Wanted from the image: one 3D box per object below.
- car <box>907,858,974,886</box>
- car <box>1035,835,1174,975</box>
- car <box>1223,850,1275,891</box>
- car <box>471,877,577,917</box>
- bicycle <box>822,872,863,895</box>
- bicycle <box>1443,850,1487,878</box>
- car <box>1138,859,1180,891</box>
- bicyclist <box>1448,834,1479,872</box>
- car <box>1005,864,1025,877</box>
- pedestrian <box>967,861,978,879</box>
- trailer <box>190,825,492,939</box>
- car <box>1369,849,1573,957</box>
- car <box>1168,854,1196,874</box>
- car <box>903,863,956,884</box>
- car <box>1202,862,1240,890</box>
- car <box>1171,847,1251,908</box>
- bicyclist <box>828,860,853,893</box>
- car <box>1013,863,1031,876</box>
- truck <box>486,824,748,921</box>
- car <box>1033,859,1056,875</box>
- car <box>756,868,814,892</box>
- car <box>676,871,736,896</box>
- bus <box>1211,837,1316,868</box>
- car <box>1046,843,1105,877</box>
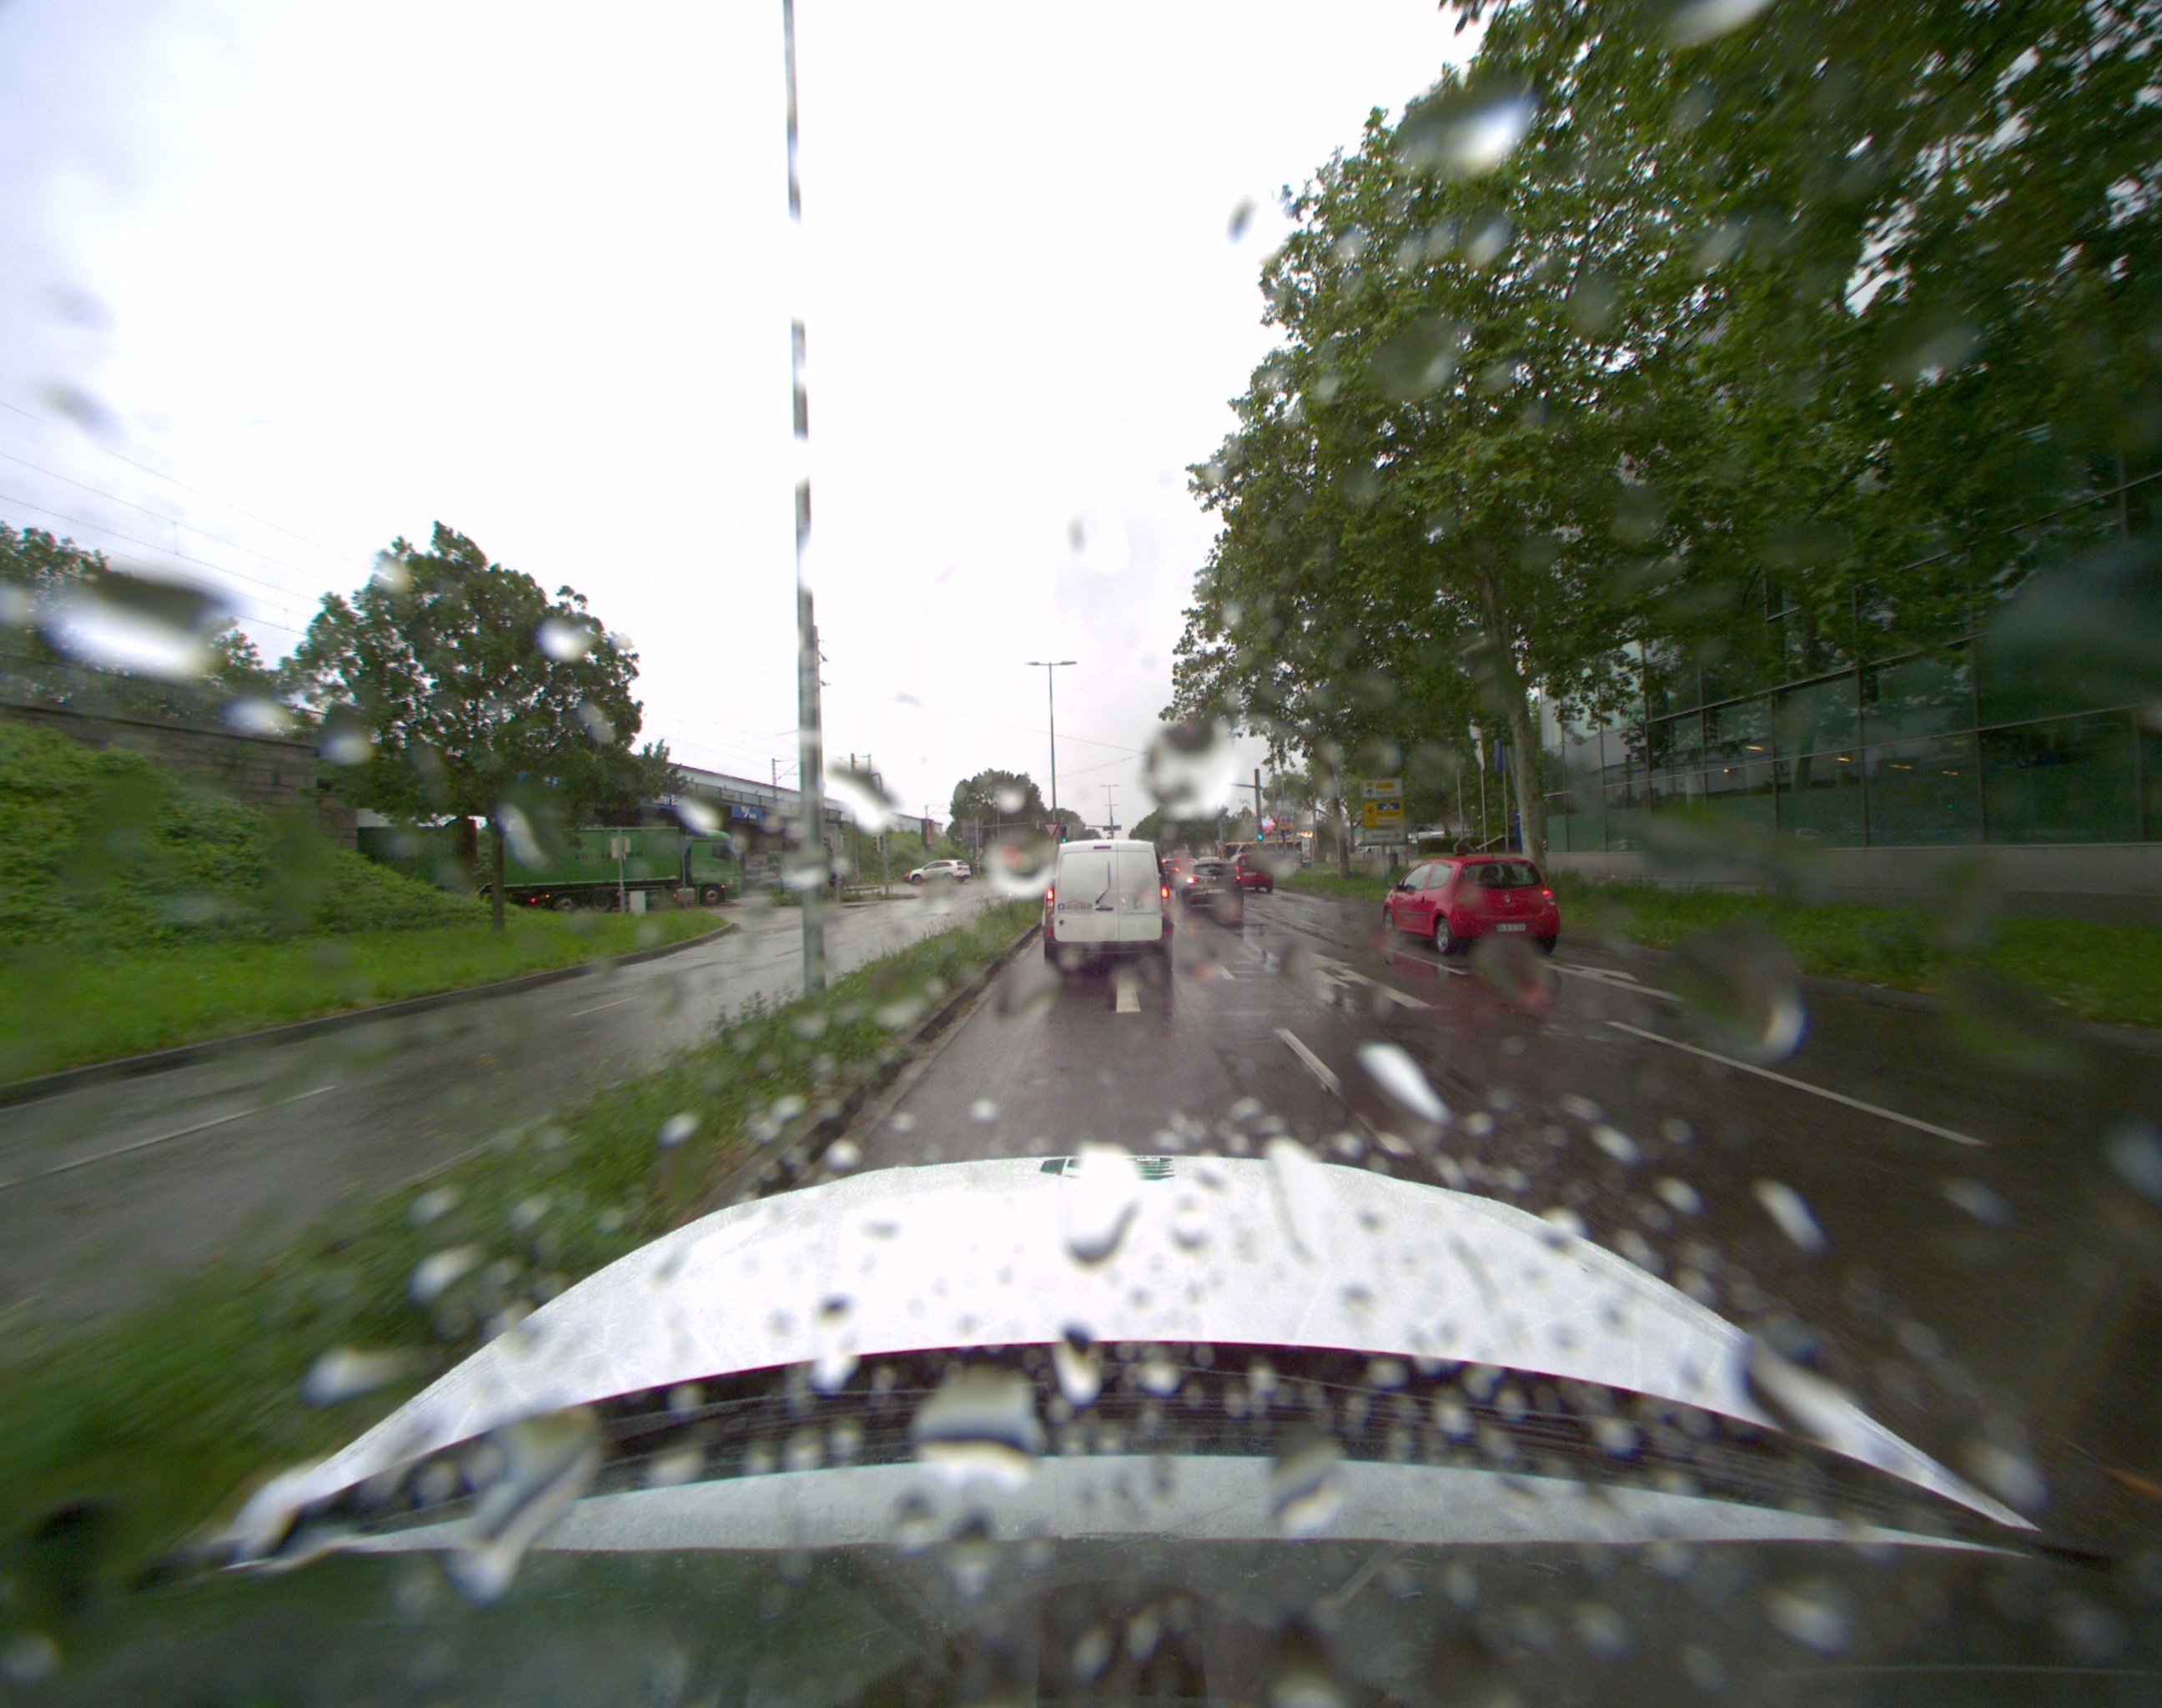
[{"bbox_3d":[-10.403,1.325,60.464,4.389,1.846,2.010,-3,-1,20],"label":"car"},{"bbox_3d":[0.371,0.667,12.462,1.749,1.777,4.002,-1,0,2],"label":"car"},{"bbox_3d":[7.131,0.675,34.903,1.626,1.656,3.486,0,0,2],"label":"car"},{"bbox_3d":[-26.270,1.989,38.491,4.017,1.574,1.978,-2,0,-35],"label":"car"},{"bbox_3d":[-12.110,1.494,41.357,1.916,1.095,0.689,-1,-1,-25],"label":"bicycle"},{"bbox_3d":[15.918,0.411,33.813,0.741,1.104,2.076,-4,-1,0],"label":"bicycle"},{"bbox_3d":[4.183,1.100,44.167,1.830,1.656,3.999,0,0,-1],"label":"car"},{"bbox_3d":[15.872,-0.028,33.822,0.802,1.515,0.752,-5,-1,-1],"label":"bicyclist"},{"bbox_3d":[-7.476,1.855,92.205,1.886,1.349,3.999,-3,0,0],"label":"car"},{"bbox_3d":[-10.966,1.598,82.001,1.001,1.719,0.818,-2,-1,-6],"label":"pedestrian"},{"bbox_3d":[-29.020,0.954,32.647,8.555,3.987,2.660,-2,-1,-34],"label":"trailer"},{"bbox_3d":[6.145,0.704,13.307,1.672,1.491,3.623,-1,0,2],"label":"car"},{"bbox_3d":[8.271,0.793,66.904,1.984,1.574,4.005,-2,0,4],"label":"car"},{"bbox_3d":[-12.348,1.587,66.587,3.973,1.503,1.772,-2,0,0],"label":"car"},{"bbox_3d":[8.557,1.335,50.018,1.835,1.618,4.003,-1,-1,3],"label":"car"},{"bbox_3d":[3.754,0.658,24.170,1.836,1.618,4.002,-1,-1,2],"label":"car"},{"bbox_3d":[-12.203,1.137,41.316,1.049,1.593,0.798,0,-2,-26],"label":"bicyclist"},{"bbox_3d":[-7.090,1.889,98.589,1.822,1.482,3.998,-2,0,-1],"label":"car"},{"bbox_3d":[-21.266,0.698,37.954,10.236,3.949,2.659,-2,-1,-34],"label":"truck"},{"bbox_3d":[-4.166,1.446,94.104,2.012,1.657,4.067,-2,0,5],"label":"car"},{"bbox_3d":[-21.571,1.896,59.476,3.900,1.517,1.796,-2,-1,-21],"label":"car"},{"bbox_3d":[-27.574,2.145,59.879,3.856,1.573,1.850,-2,-1,-27],"label":"car"},{"bbox_3d":[22.566,-0.180,101.079,12.205,3.268,3.275,-3,-1,1],"label":"bus"},{"bbox_3d":[-0.434,0.388,51.783,2.003,1.956,4.783,-3,0,-23],"label":"car"}]
